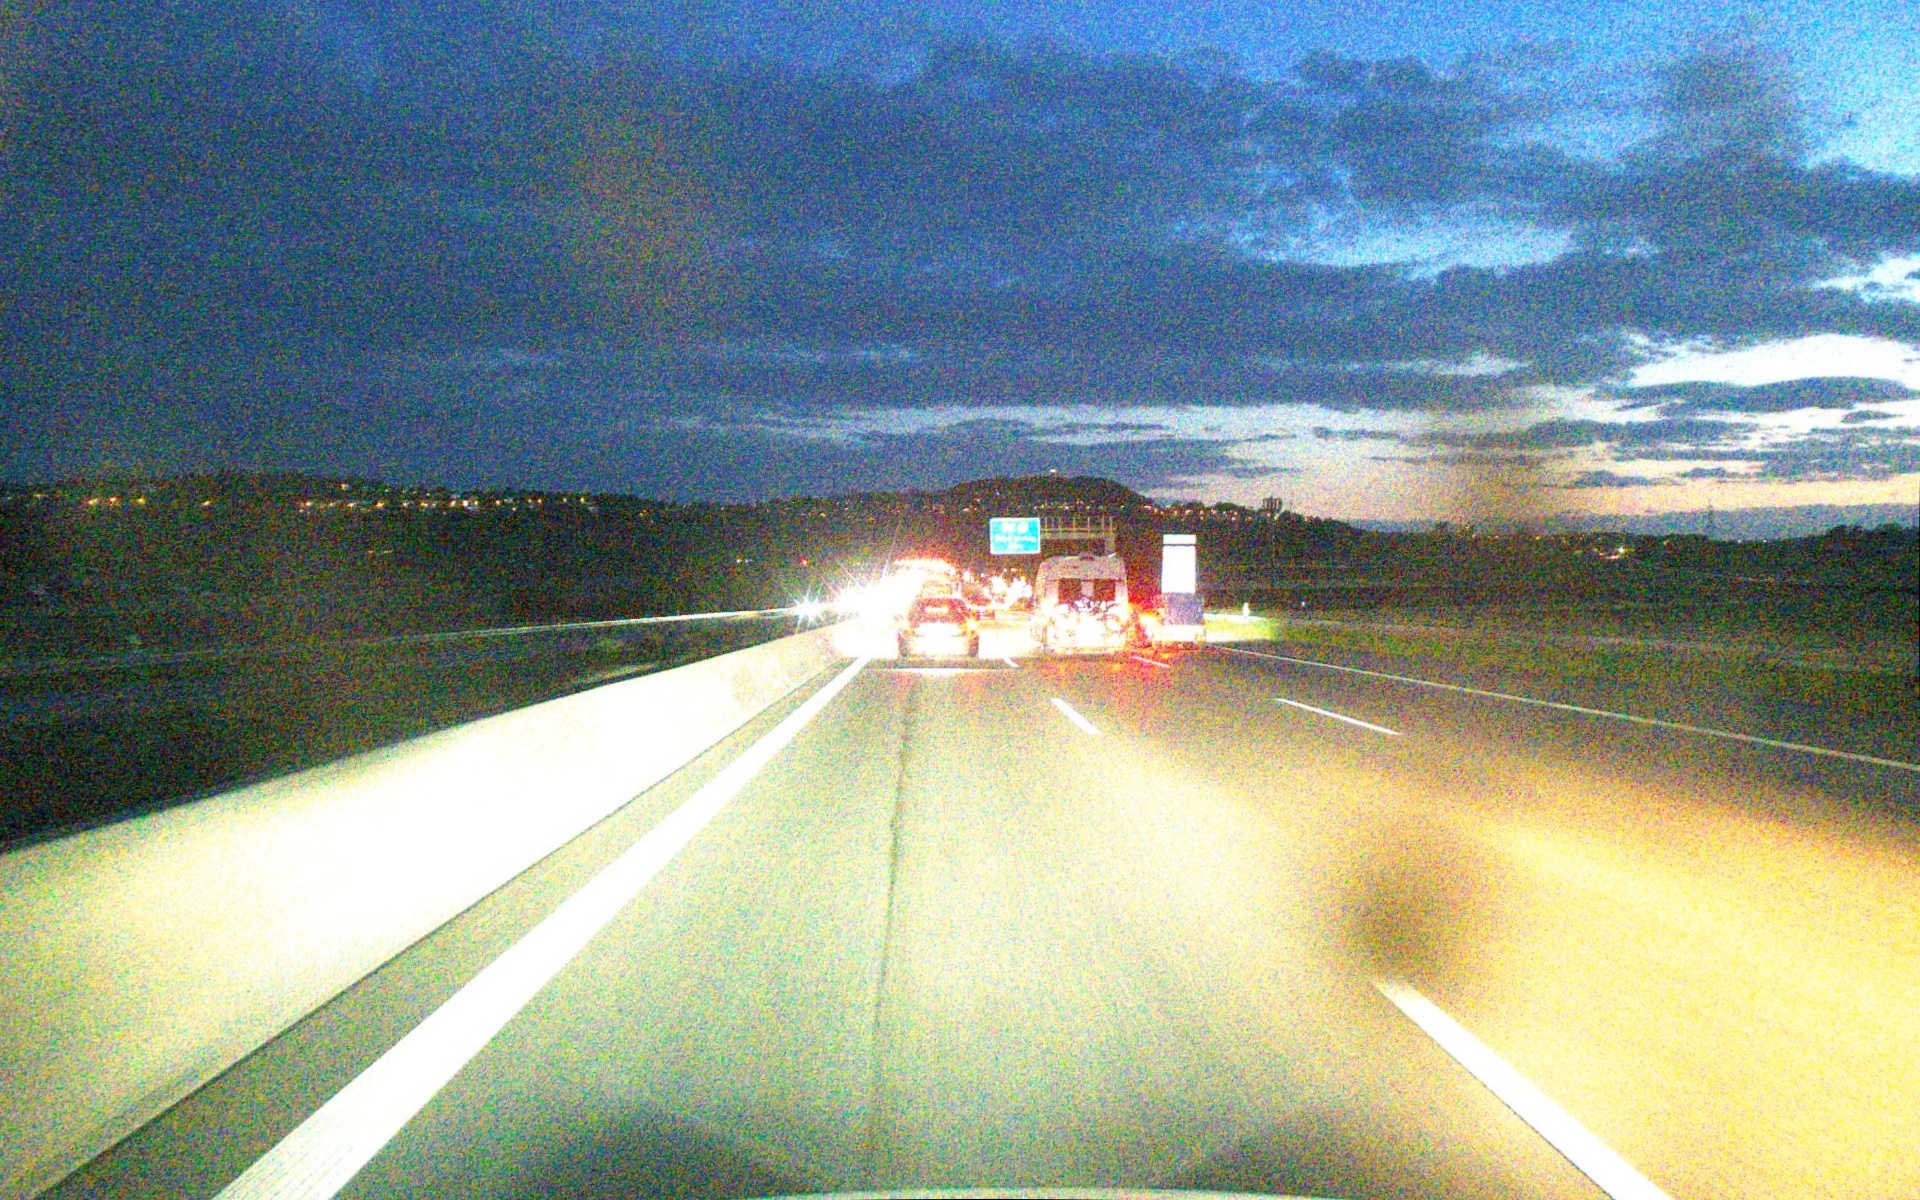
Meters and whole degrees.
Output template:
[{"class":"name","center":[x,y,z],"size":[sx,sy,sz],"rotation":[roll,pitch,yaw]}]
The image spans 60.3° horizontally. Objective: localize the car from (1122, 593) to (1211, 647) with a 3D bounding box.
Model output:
[{"class":"car","center":[6.362,0.583,51.443],"size":[2.119,1.591,4.722],"rotation":[0,0,-1]}]

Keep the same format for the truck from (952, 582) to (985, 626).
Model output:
[{"class":"truck","center":[0.776,0.406,156.710],"size":[2.725,4.024,7.989],"rotation":[-1,0,-2]}]

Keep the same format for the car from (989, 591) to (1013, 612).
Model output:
[{"class":"car","center":[4.367,0.132,175.626],"size":[2.303,2.112,4.722],"rotation":[-1,0,-1]}]

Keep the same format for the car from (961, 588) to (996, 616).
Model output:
[{"class":"car","center":[1.288,0.123,117.737],"size":[2.303,1.947,4.722],"rotation":[-1,0,-1]}]

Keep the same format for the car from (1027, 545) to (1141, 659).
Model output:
[{"class":"car","center":[2.963,0.021,40.791],"size":[2.303,2.579,5.700],"rotation":[-1,0,-1]}]

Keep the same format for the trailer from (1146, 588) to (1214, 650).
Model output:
[{"class":"trailer","center":[6.338,0.538,47.779],"size":[1.534,1.723,2.820],"rotation":[-1,0,-1]}]

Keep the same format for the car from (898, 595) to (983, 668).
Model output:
[{"class":"car","center":[-0.417,0.641,36.248],"size":[1.757,1.494,3.772],"rotation":[0,0,-1]}]

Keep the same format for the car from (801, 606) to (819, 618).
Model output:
[{"class":"car","center":[-19.470,1.544,214.161],"size":[1.953,1.504,5.043],"rotation":[-3,0,-2]}]
